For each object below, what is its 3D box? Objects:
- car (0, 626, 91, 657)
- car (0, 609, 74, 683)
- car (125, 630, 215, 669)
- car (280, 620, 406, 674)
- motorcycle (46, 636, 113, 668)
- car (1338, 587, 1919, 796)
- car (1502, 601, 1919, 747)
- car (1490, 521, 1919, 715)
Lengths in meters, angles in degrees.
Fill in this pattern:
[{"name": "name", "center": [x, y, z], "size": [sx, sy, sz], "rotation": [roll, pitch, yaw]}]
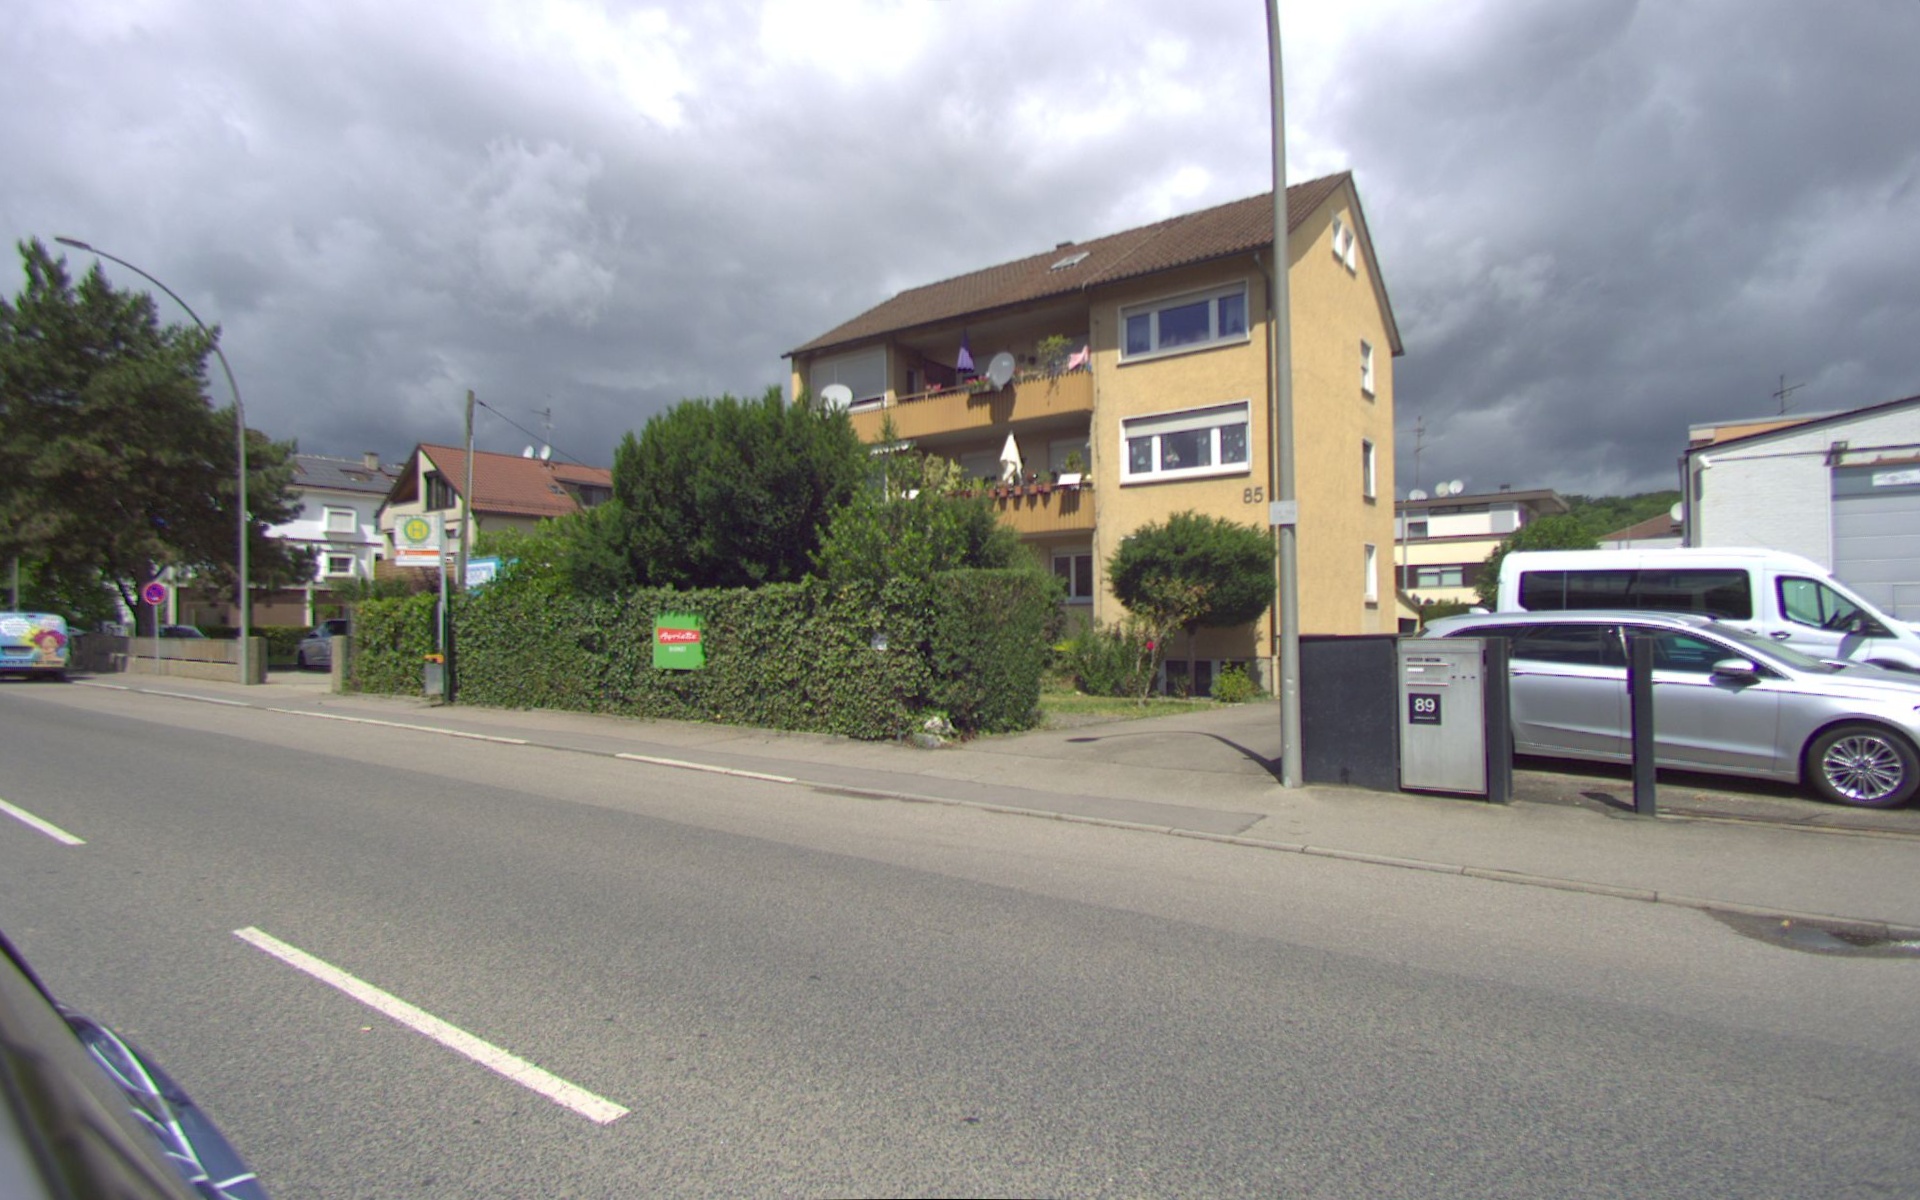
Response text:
[{"name": "car", "center": [-48.253, 2.103, 52.166], "size": [1.968, 1.563, 4.963], "rotation": [-1, -2, 35]}, {"name": "car", "center": [-26.350, 1.291, 27.939], "size": [4.888, 1.868, 1.816], "rotation": [-2, -6, 38]}, {"name": "car", "center": [-32.876, 2.014, 42.109], "size": [4.076, 1.555, 1.752], "rotation": [-1, -2, 34]}, {"name": "car", "center": [-22.696, 1.680, 37.125], "size": [5.470, 1.845, 2.060], "rotation": [-1, -3, 37]}, {"name": "motorcycle", "center": [-33.836, 1.984, 38.936], "size": [1.845, 1.174, 0.826], "rotation": [1, -2, -36]}, {"name": "car", "center": [6.451, 0.713, 9.222], "size": [1.969, 1.497, 5.347], "rotation": [1, -2, -42]}, {"name": "car", "center": [9.770, 0.879, 13.252], "size": [1.822, 1.589, 4.337], "rotation": [2, -2, -41]}, {"name": "car", "center": [11.699, 0.335, 15.333], "size": [6.131, 2.514, 2.387], "rotation": [-2, -4, 41]}]
